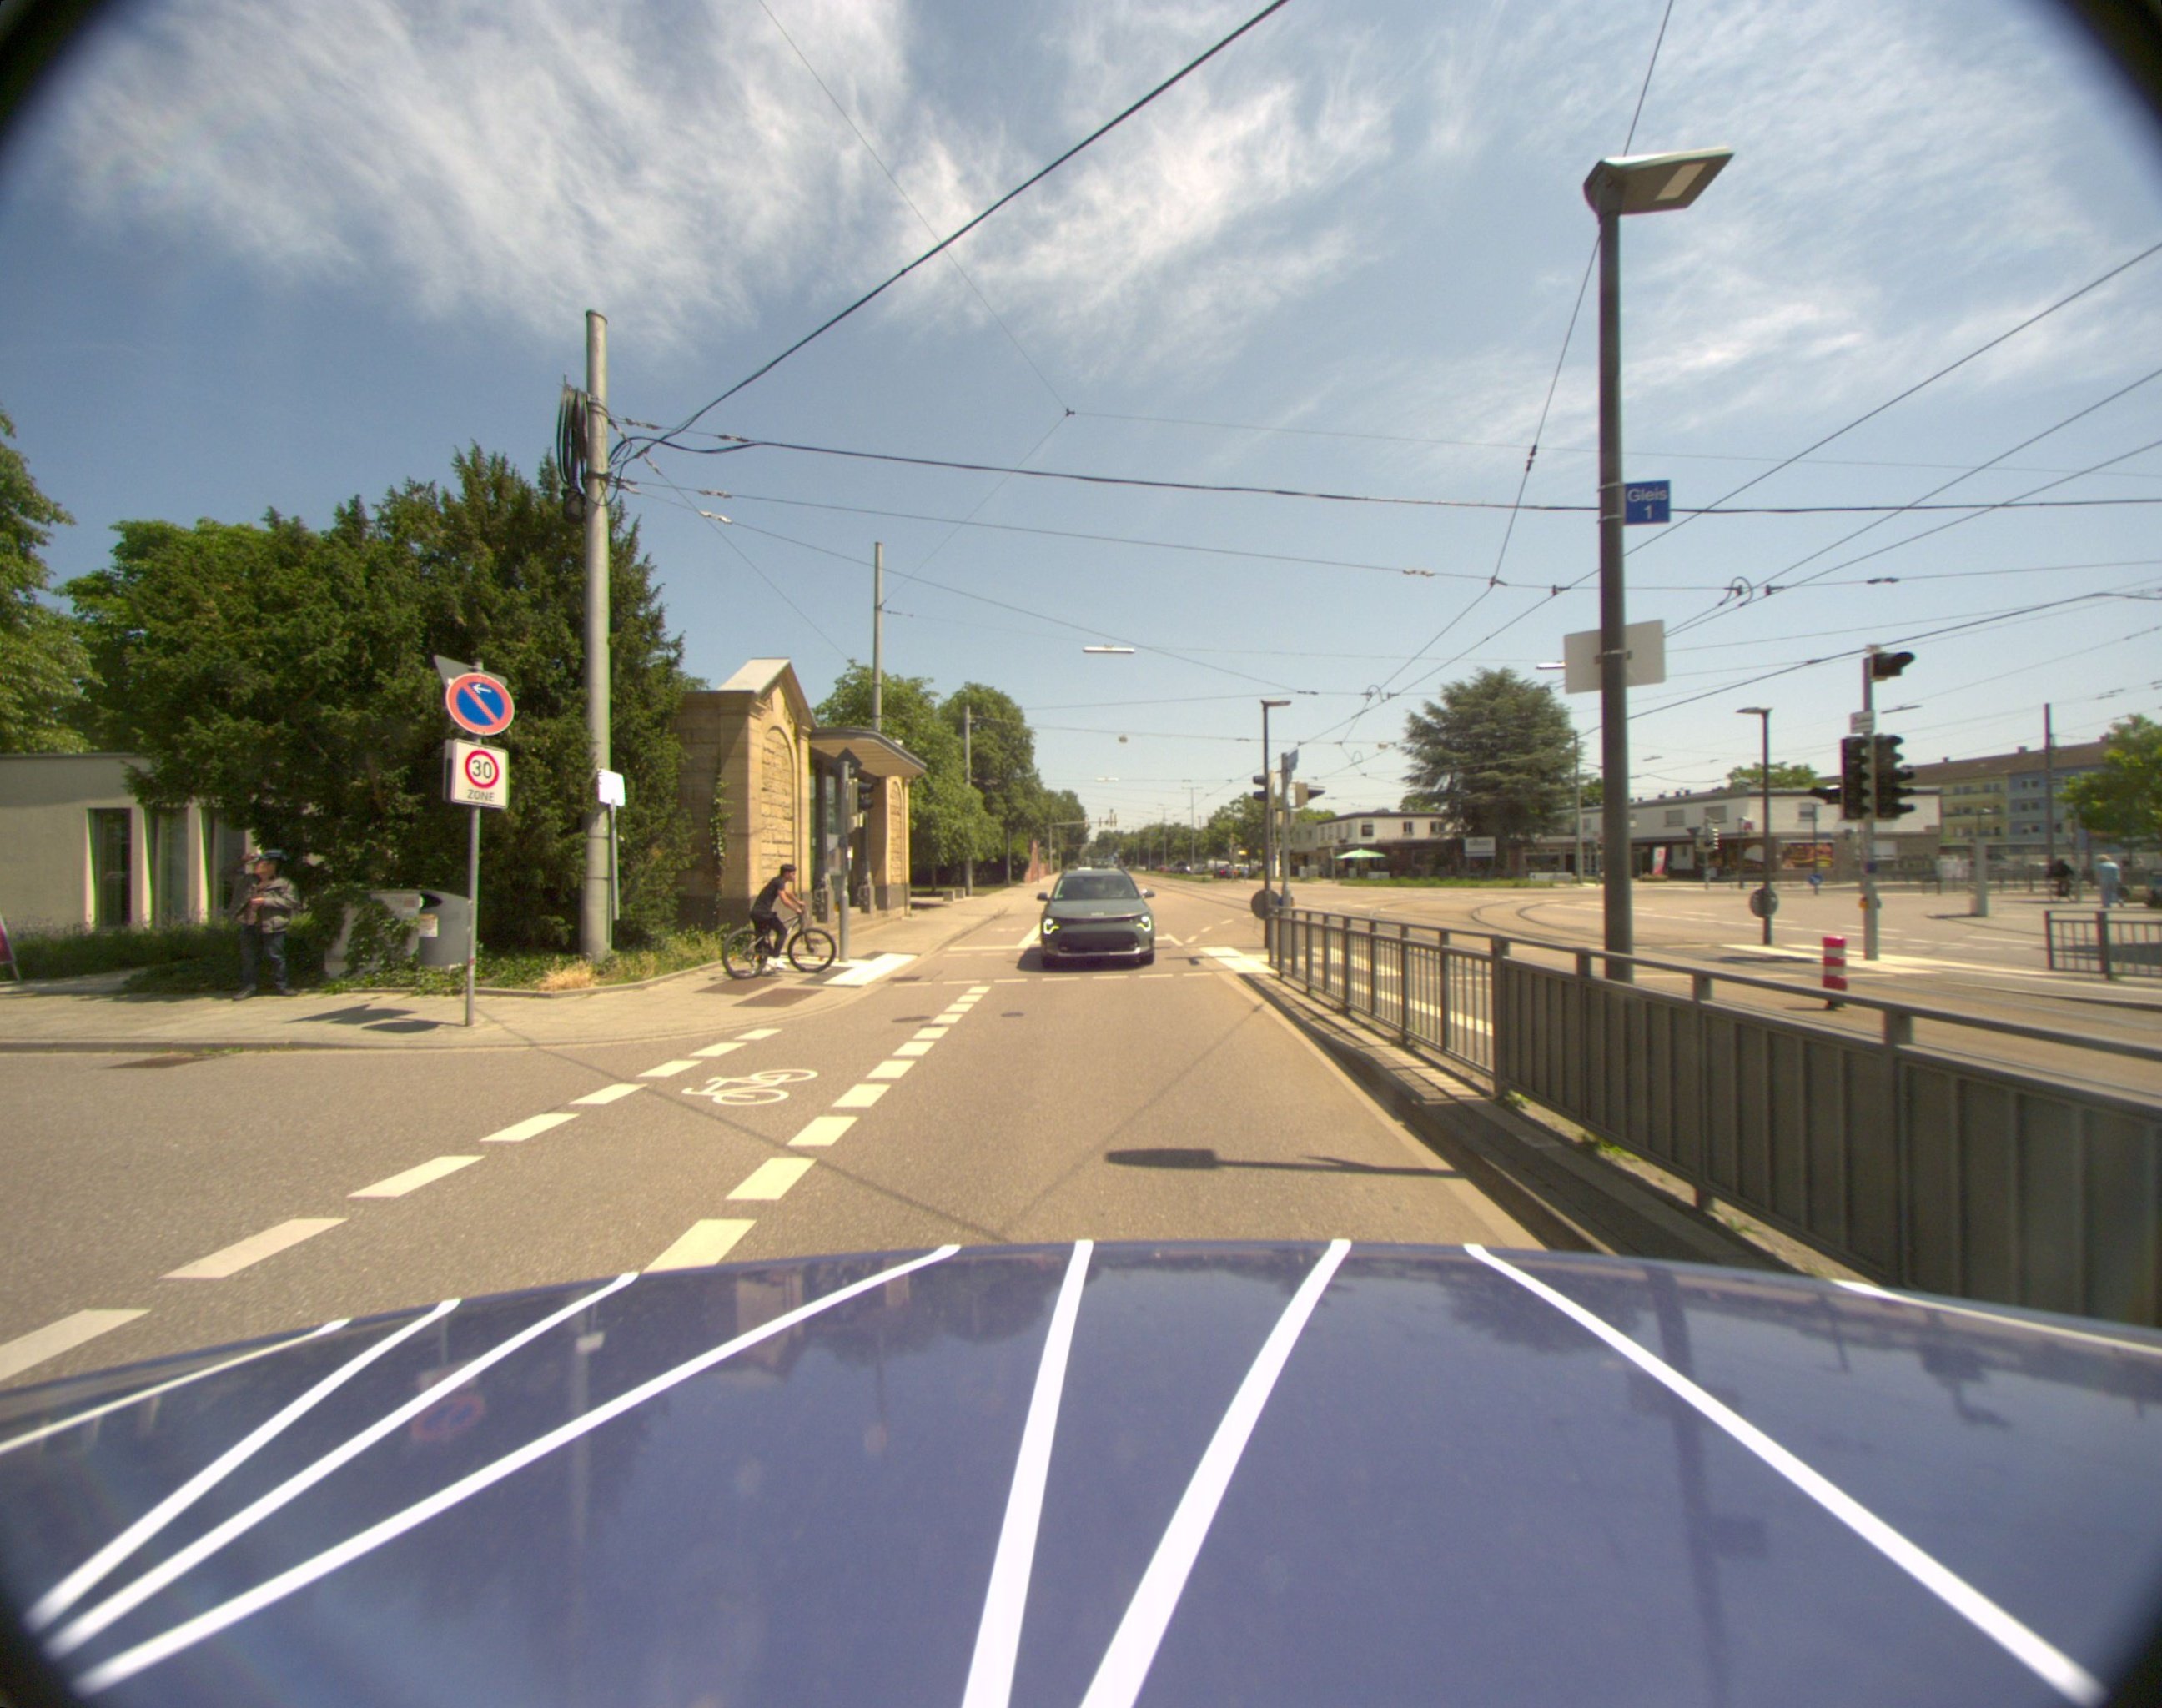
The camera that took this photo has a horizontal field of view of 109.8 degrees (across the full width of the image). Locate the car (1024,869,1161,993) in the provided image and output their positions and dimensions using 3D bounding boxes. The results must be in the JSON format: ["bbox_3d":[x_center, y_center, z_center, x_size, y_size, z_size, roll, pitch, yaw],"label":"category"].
[{"bbox_3d":[0.183,1.079,12.381,1.789,1.561,4.184,-2,0,1],"label":"car"}]

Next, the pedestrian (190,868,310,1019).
[{"bbox_3d":[-9.019,0.943,8.266,0.603,1.582,0.629,0,0,1],"label":"pedestrian"}]

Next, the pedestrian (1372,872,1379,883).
[{"bbox_3d":[29.379,2.334,75.804,0.518,1.120,0.674,0,0,0],"label":"pedestrian"}]

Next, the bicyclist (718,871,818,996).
[{"bbox_3d":[-4.410,1.091,10.731,0.832,1.608,0.862,4,-1,32],"label":"bicyclist"}]

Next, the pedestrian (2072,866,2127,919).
[{"bbox_3d":[32.916,1.237,24.565,0.700,1.686,0.808,0,0,12],"label":"pedestrian"}]

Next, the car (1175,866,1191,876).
[{"bbox_3d":[15.754,2.605,117.500,1.714,1.430,3.865,0,-1,-2],"label":"car"}]

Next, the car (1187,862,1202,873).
[{"bbox_3d":[19.893,2.298,133.506,1.998,1.872,4.662,0,-1,1],"label":"car"}]

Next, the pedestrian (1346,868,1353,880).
[{"bbox_3d":[28.999,2.183,82.046,0.576,1.231,0.491,0,0,0],"label":"pedestrian"}]

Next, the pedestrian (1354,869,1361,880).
[{"bbox_3d":[29.730,2.163,81.601,0.518,1.192,0.674,0,0,0],"label":"pedestrian"}]

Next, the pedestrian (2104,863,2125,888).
[{"bbox_3d":[76.885,1.590,56.543,0.648,1.891,0.679,0,0,0],"label":"pedestrian"}]

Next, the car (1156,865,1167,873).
[{"bbox_3d":[15.864,2.958,149.687,1.629,1.475,3.828,0,-1,-4],"label":"car"}]

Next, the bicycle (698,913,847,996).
[{"bbox_3d":[-4.357,1.385,10.872,0.668,0.996,1.868,4,-1,32],"label":"bicycle"}]

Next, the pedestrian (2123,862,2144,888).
[{"bbox_3d":[76.913,1.529,55.531,0.648,1.891,0.679,0,0,0],"label":"pedestrian"}]

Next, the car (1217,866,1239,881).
[{"bbox_3d":[16.569,2.180,85.991,1.798,1.570,4.496,0,-1,2],"label":"car"}]

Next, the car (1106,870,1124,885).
[{"bbox_3d":[3.505,2.426,79.283,1.620,1.413,3.655,2,0,0],"label":"car"}]

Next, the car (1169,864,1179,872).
[{"bbox_3d":[20.888,3.120,170.025,1.681,1.962,4.510,0,-1,0],"label":"car"}]

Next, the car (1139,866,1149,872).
[{"bbox_3d":[16.572,3.894,201.302,1.999,1.543,4.138,2,-1,-4],"label":"car"}]

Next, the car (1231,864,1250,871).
[{"bbox_3d":[31.816,2.701,151.457,3.415,1.496,1.603,0,0,-5],"label":"car"}]

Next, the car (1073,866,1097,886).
[{"bbox_3d":[0.349,1.854,65.703,1.998,1.652,4.000,0,-1,0],"label":"car"}]

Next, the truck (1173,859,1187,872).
[{"bbox_3d":[20.396,2.394,156.368,2.225,2.526,4.930,0,-1,1],"label":"truck"}]
